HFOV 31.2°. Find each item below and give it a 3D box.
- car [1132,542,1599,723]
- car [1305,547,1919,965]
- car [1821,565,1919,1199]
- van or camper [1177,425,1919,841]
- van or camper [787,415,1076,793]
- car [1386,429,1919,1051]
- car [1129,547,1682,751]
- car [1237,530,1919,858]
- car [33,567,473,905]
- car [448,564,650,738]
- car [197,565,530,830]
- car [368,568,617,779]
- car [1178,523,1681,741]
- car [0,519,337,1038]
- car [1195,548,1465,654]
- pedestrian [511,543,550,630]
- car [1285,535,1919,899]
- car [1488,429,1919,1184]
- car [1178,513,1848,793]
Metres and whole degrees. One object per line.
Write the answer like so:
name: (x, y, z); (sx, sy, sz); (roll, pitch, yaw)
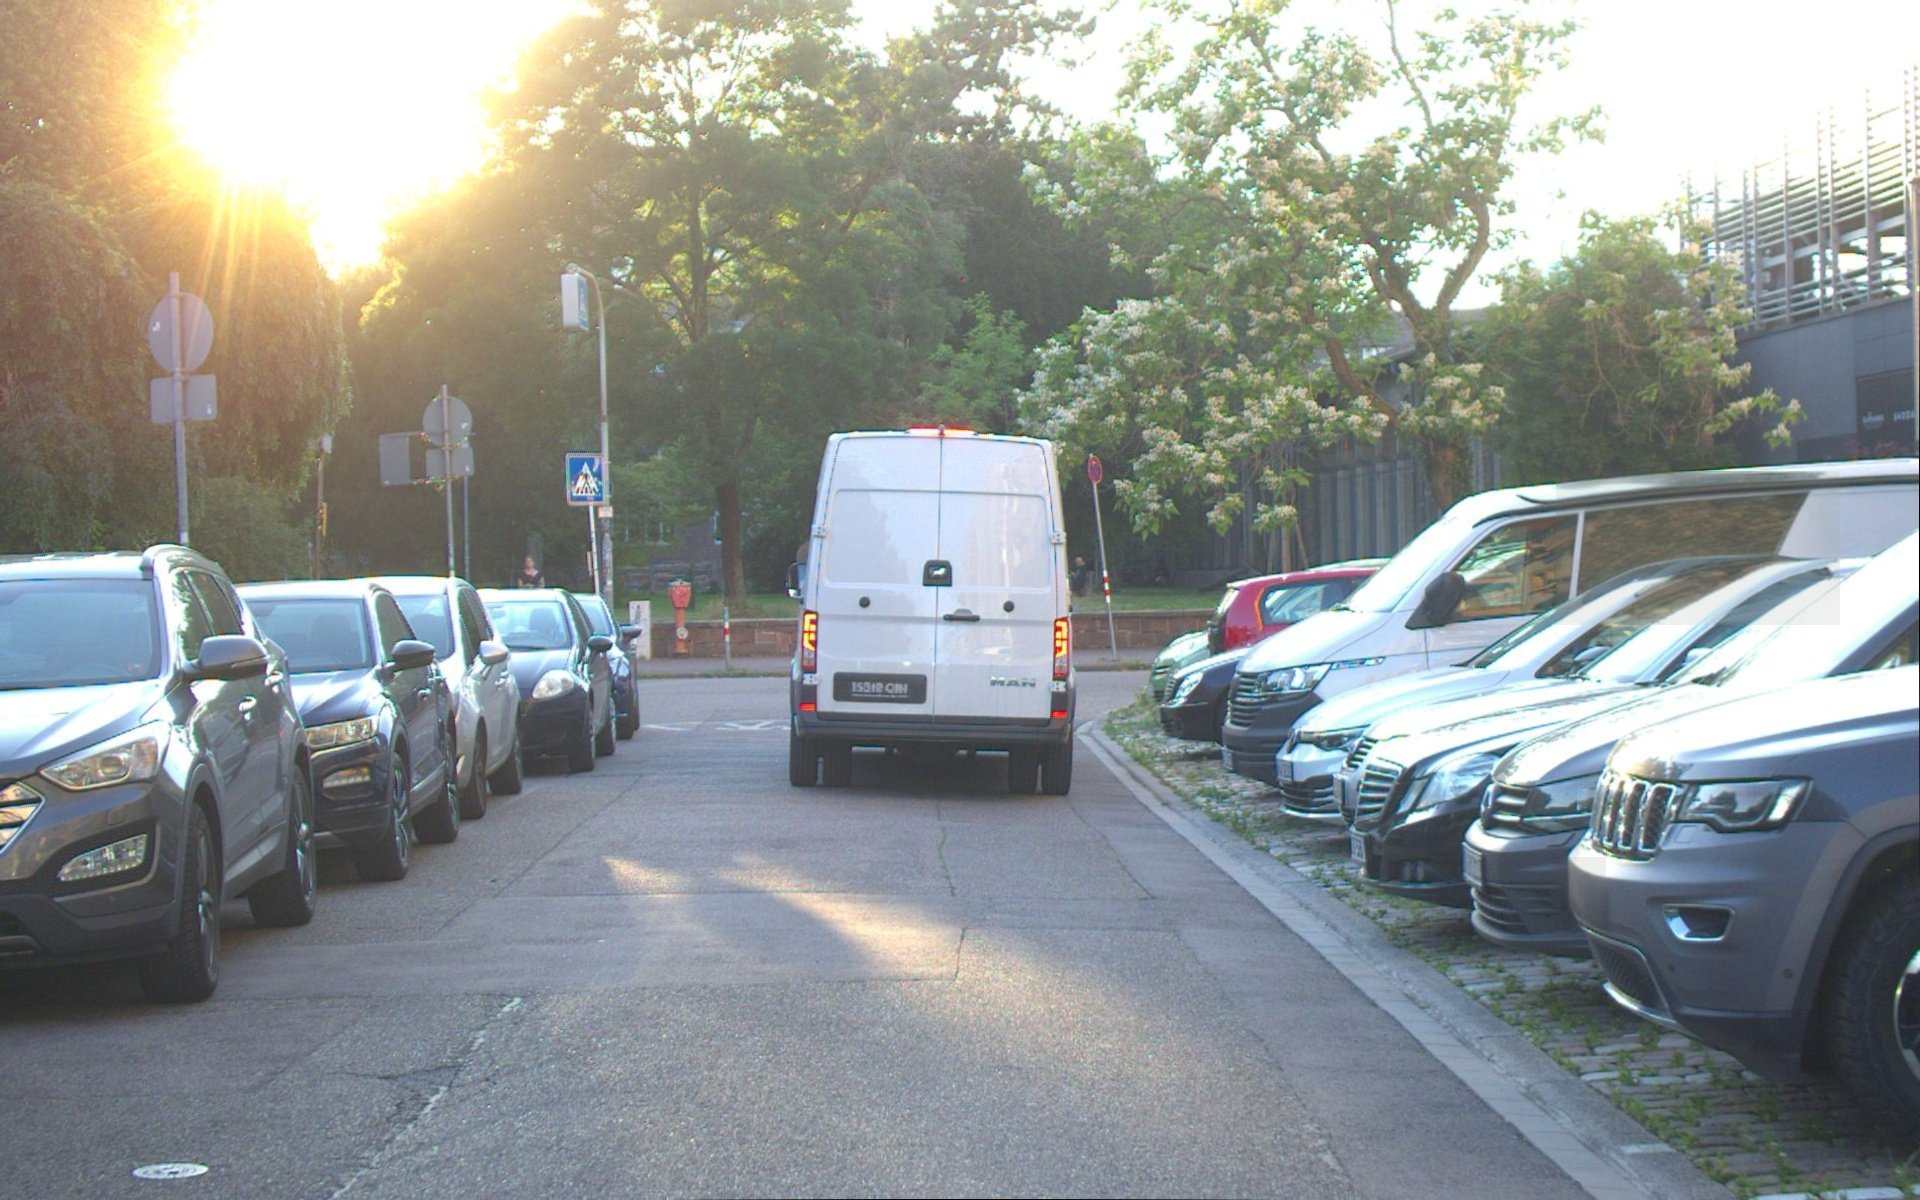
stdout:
car: (4.066, 0.344, 34.931); (4.403, 1.626, 1.846); (-2, -1, -3)
car: (3.788, 0.592, 14.480); (4.403, 1.558, 1.845); (-2, -1, -1)
car: (4.245, 0.615, 7.147); (4.403, 1.549, 1.845); (-2, -1, 1)
van or camper: (4.102, 0.160, 21.535); (5.132, 2.160, 2.040); (-4, 0, -2)
van or camper: (-0.247, -0.003, 26.903); (1.993, 2.609, 6.403); (0, 1, -1)
car: (3.993, 0.417, 12.181); (4.636, 1.975, 1.845); (-2, -1, -1)
car: (3.770, 0.429, 29.607); (4.403, 1.526, 1.846); (-2, -1, -3)
car: (3.882, 0.507, 19.376); (4.403, 1.626, 1.845); (-2, -1, -1)
car: (-3.726, 0.637, 18.773); (1.733, 1.562, 4.168); (-2, 1, -4)
car: (-4.035, 0.455, 34.207); (1.733, 1.562, 3.791); (-2, 1, -4)
car: (-3.946, 0.582, 23.335); (1.733, 1.562, 4.130); (-2, 1, -4)
car: (-3.814, 0.553, 28.542); (1.733, 1.562, 3.698); (-2, 1, -4)
car: (4.349, 0.285, 32.370); (4.404, 1.626, 1.846); (-5, 0, 2)
car: (-3.644, 0.598, 13.704); (1.733, 1.724, 4.324); (-2, 1, -4)
car: (5.627, -0.004, 52.571); (3.854, 1.568, 1.958); (0, 1, -2)
pedestrian: (-8.132, -0.257, 65.071); (0.646, 1.643, 0.674); (1, 1, -1)
car: (3.930, 0.531, 16.924); (4.403, 1.587, 1.845); (-2, -1, -1)
car: (3.907, 0.437, 9.533); (4.512, 1.856, 1.846); (-2, 0, -1)
car: (3.852, 0.379, 24.436); (4.325, 1.656, 1.781); (-4, -1, -3)
